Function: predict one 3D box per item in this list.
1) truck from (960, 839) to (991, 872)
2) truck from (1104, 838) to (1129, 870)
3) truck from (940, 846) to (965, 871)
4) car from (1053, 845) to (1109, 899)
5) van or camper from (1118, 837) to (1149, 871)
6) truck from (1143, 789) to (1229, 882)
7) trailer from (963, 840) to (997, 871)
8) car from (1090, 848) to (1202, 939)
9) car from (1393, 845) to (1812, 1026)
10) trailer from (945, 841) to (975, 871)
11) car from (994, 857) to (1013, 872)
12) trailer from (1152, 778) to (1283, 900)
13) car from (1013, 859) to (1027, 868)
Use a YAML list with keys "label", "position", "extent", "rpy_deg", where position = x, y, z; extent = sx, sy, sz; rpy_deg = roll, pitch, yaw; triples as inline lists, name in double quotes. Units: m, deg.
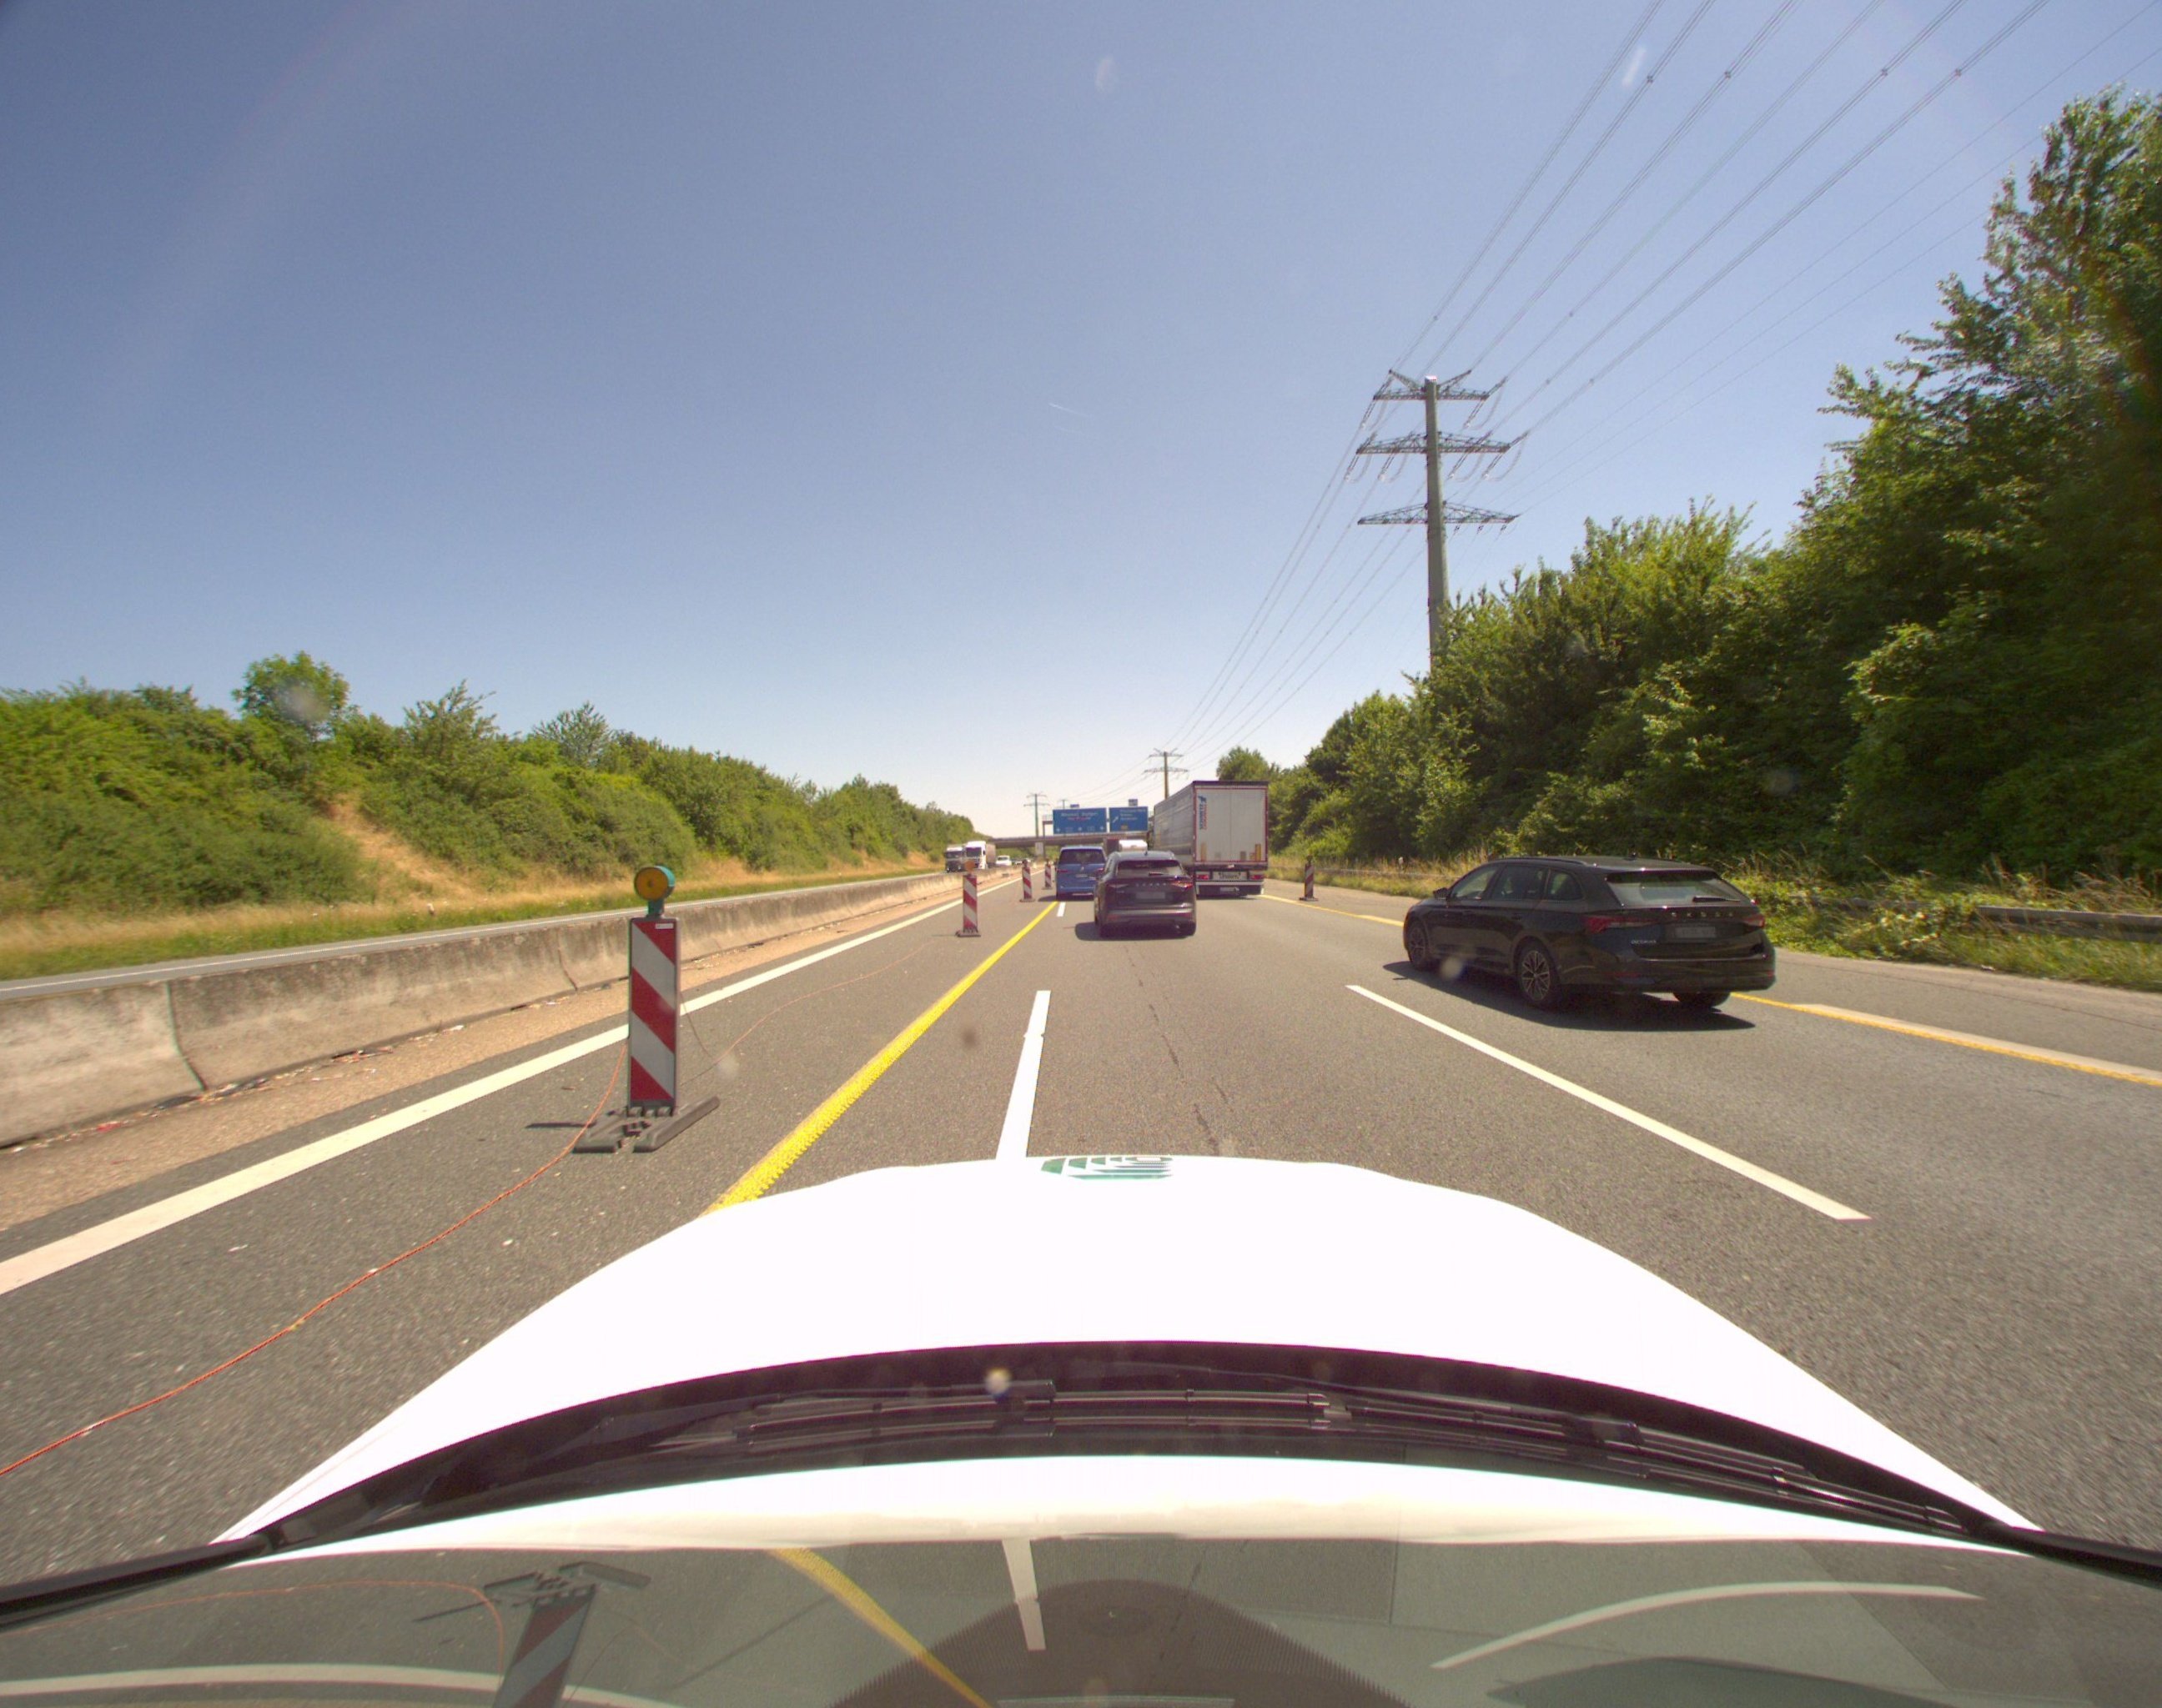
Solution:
- label: "truck"
  position: [-14.571, 0.236, 112.790]
  extent: [3.154, 4.224, 7.413]
  rpy_deg: [-2, 0, 0]
- label: "truck"
  position: [4.809, 0.003, 112.225]
  extent: [3.067, 4.146, 13.057]
  rpy_deg: [0, 0, 1]
- label: "truck"
  position: [-18.049, 0.651, 114.761]
  extent: [2.457, 3.288, 6.921]
  rpy_deg: [-2, 0, -1]
- label: "car"
  position: [-0.030, 0.657, 29.915]
  extent: [1.890, 1.841, 4.440]
  rpy_deg: [0, -1, -1]
- label: "van or camper"
  position: [4.769, 0.005, 75.345]
  extent: [2.577, 2.968, 6.086]
  rpy_deg: [1, 0, 1]
- label: "truck"
  position: [4.949, -0.822, 39.939]
  extent: [3.016, 4.087, 7.791]
  rpy_deg: [-1, 0, -1]
- label: "trailer"
  position: [-14.597, 0.229, 119.148]
  extent: [3.150, 4.180, 13.681]
  rpy_deg: [-2, 0, 0]
- label: "car"
  position: [1.188, 0.696, 16.721]
  extent: [1.890, 1.592, 4.441]
  rpy_deg: [0, 0, -1]
- label: "car"
  position: [5.193, 0.684, 8.996]
  extent: [1.773, 1.489, 4.463]
  rpy_deg: [0, 0, 0]
- label: "trailer"
  position: [-18.102, 0.254, 122.480]
  extent: [2.472, 4.180, 12.082]
  rpy_deg: [-2, 0, 0]
- label: "car"
  position: [-10.243, 1.362, 108.389]
  extent: [1.860, 1.792, 5.455]
  rpy_deg: [-2, 0, 1]
- label: "trailer"
  position: [5.077, -0.506, 33.006]
  extent: [3.056, 4.042, 11.481]
  rpy_deg: [-1, 0, -1]
- label: "car"
  position: [-10.229, 1.566, 137.171]
  extent: [1.756, 1.471, 4.635]
  rpy_deg: [-2, 0, 2]
